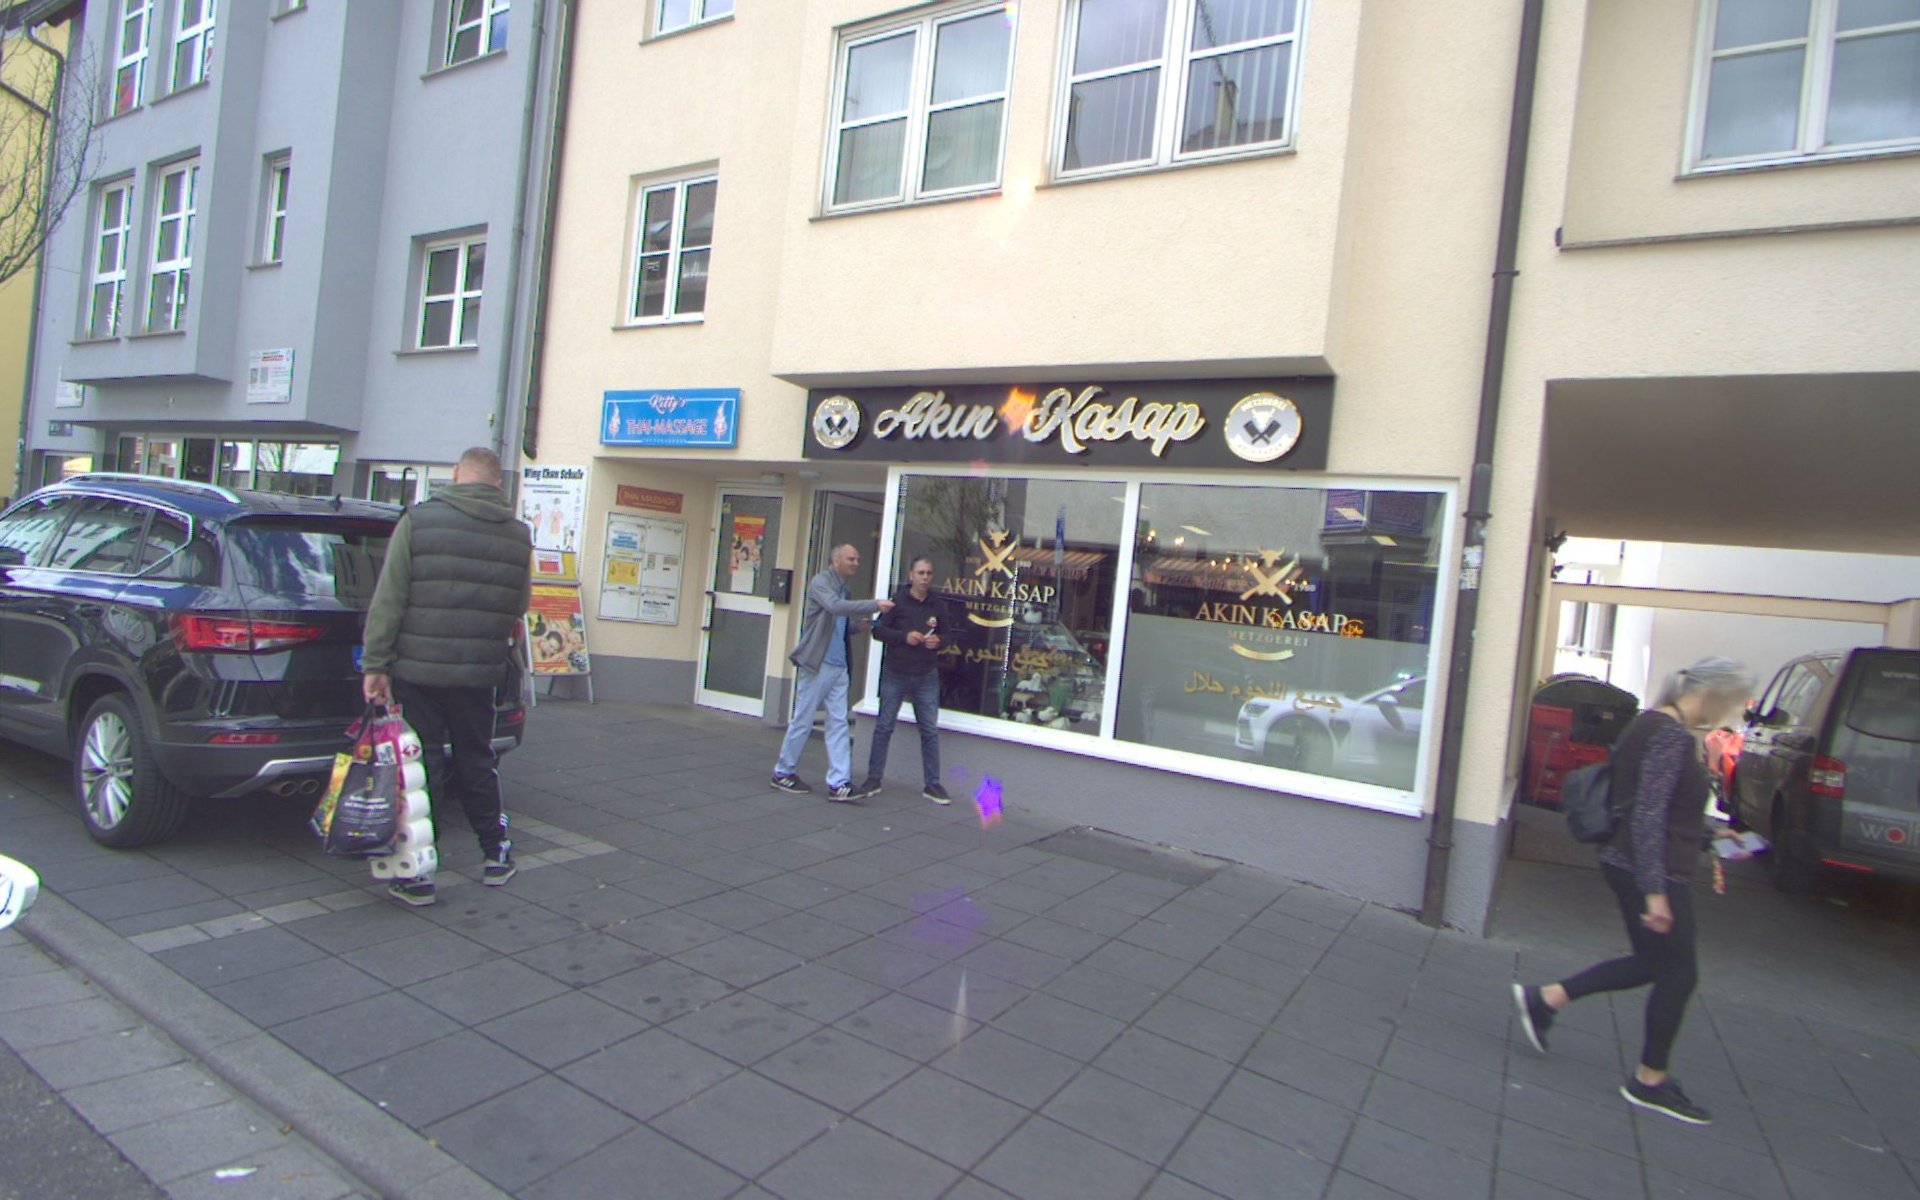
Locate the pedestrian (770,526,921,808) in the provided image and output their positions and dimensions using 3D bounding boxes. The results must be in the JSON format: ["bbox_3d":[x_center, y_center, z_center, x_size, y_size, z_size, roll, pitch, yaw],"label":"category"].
[{"bbox_3d":[-0.749,0.429,6.646,0.596,1.737,0.536,6,-1,30],"label":"pedestrian"}]

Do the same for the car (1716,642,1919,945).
[{"bbox_3d":[7.884,1.437,8.379,1.921,1.958,4.349,7,2,31],"label":"car"}]

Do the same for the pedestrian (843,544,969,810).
[{"bbox_3d":[-0.369,0.522,6.987,0.528,1.737,0.437,6,-1,28],"label":"pedestrian"}]

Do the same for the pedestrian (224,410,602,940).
[{"bbox_3d":[-2.249,0.257,4.198,0.850,1.888,0.976,6,2,30],"label":"pedestrian"}]

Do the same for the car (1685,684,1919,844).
[{"bbox_3d":[11.147,2.056,13.601,1.752,1.451,3.780,7,2,31],"label":"car"}]

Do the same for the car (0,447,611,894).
[{"bbox_3d":[-4.140,0.126,5.585,4.132,1.624,1.801,7,2,30],"label":"car"}]

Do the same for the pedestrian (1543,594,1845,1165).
[{"bbox_3d":[2.573,0.900,3.628,0.645,1.739,0.744,6,0,30],"label":"pedestrian"}]
